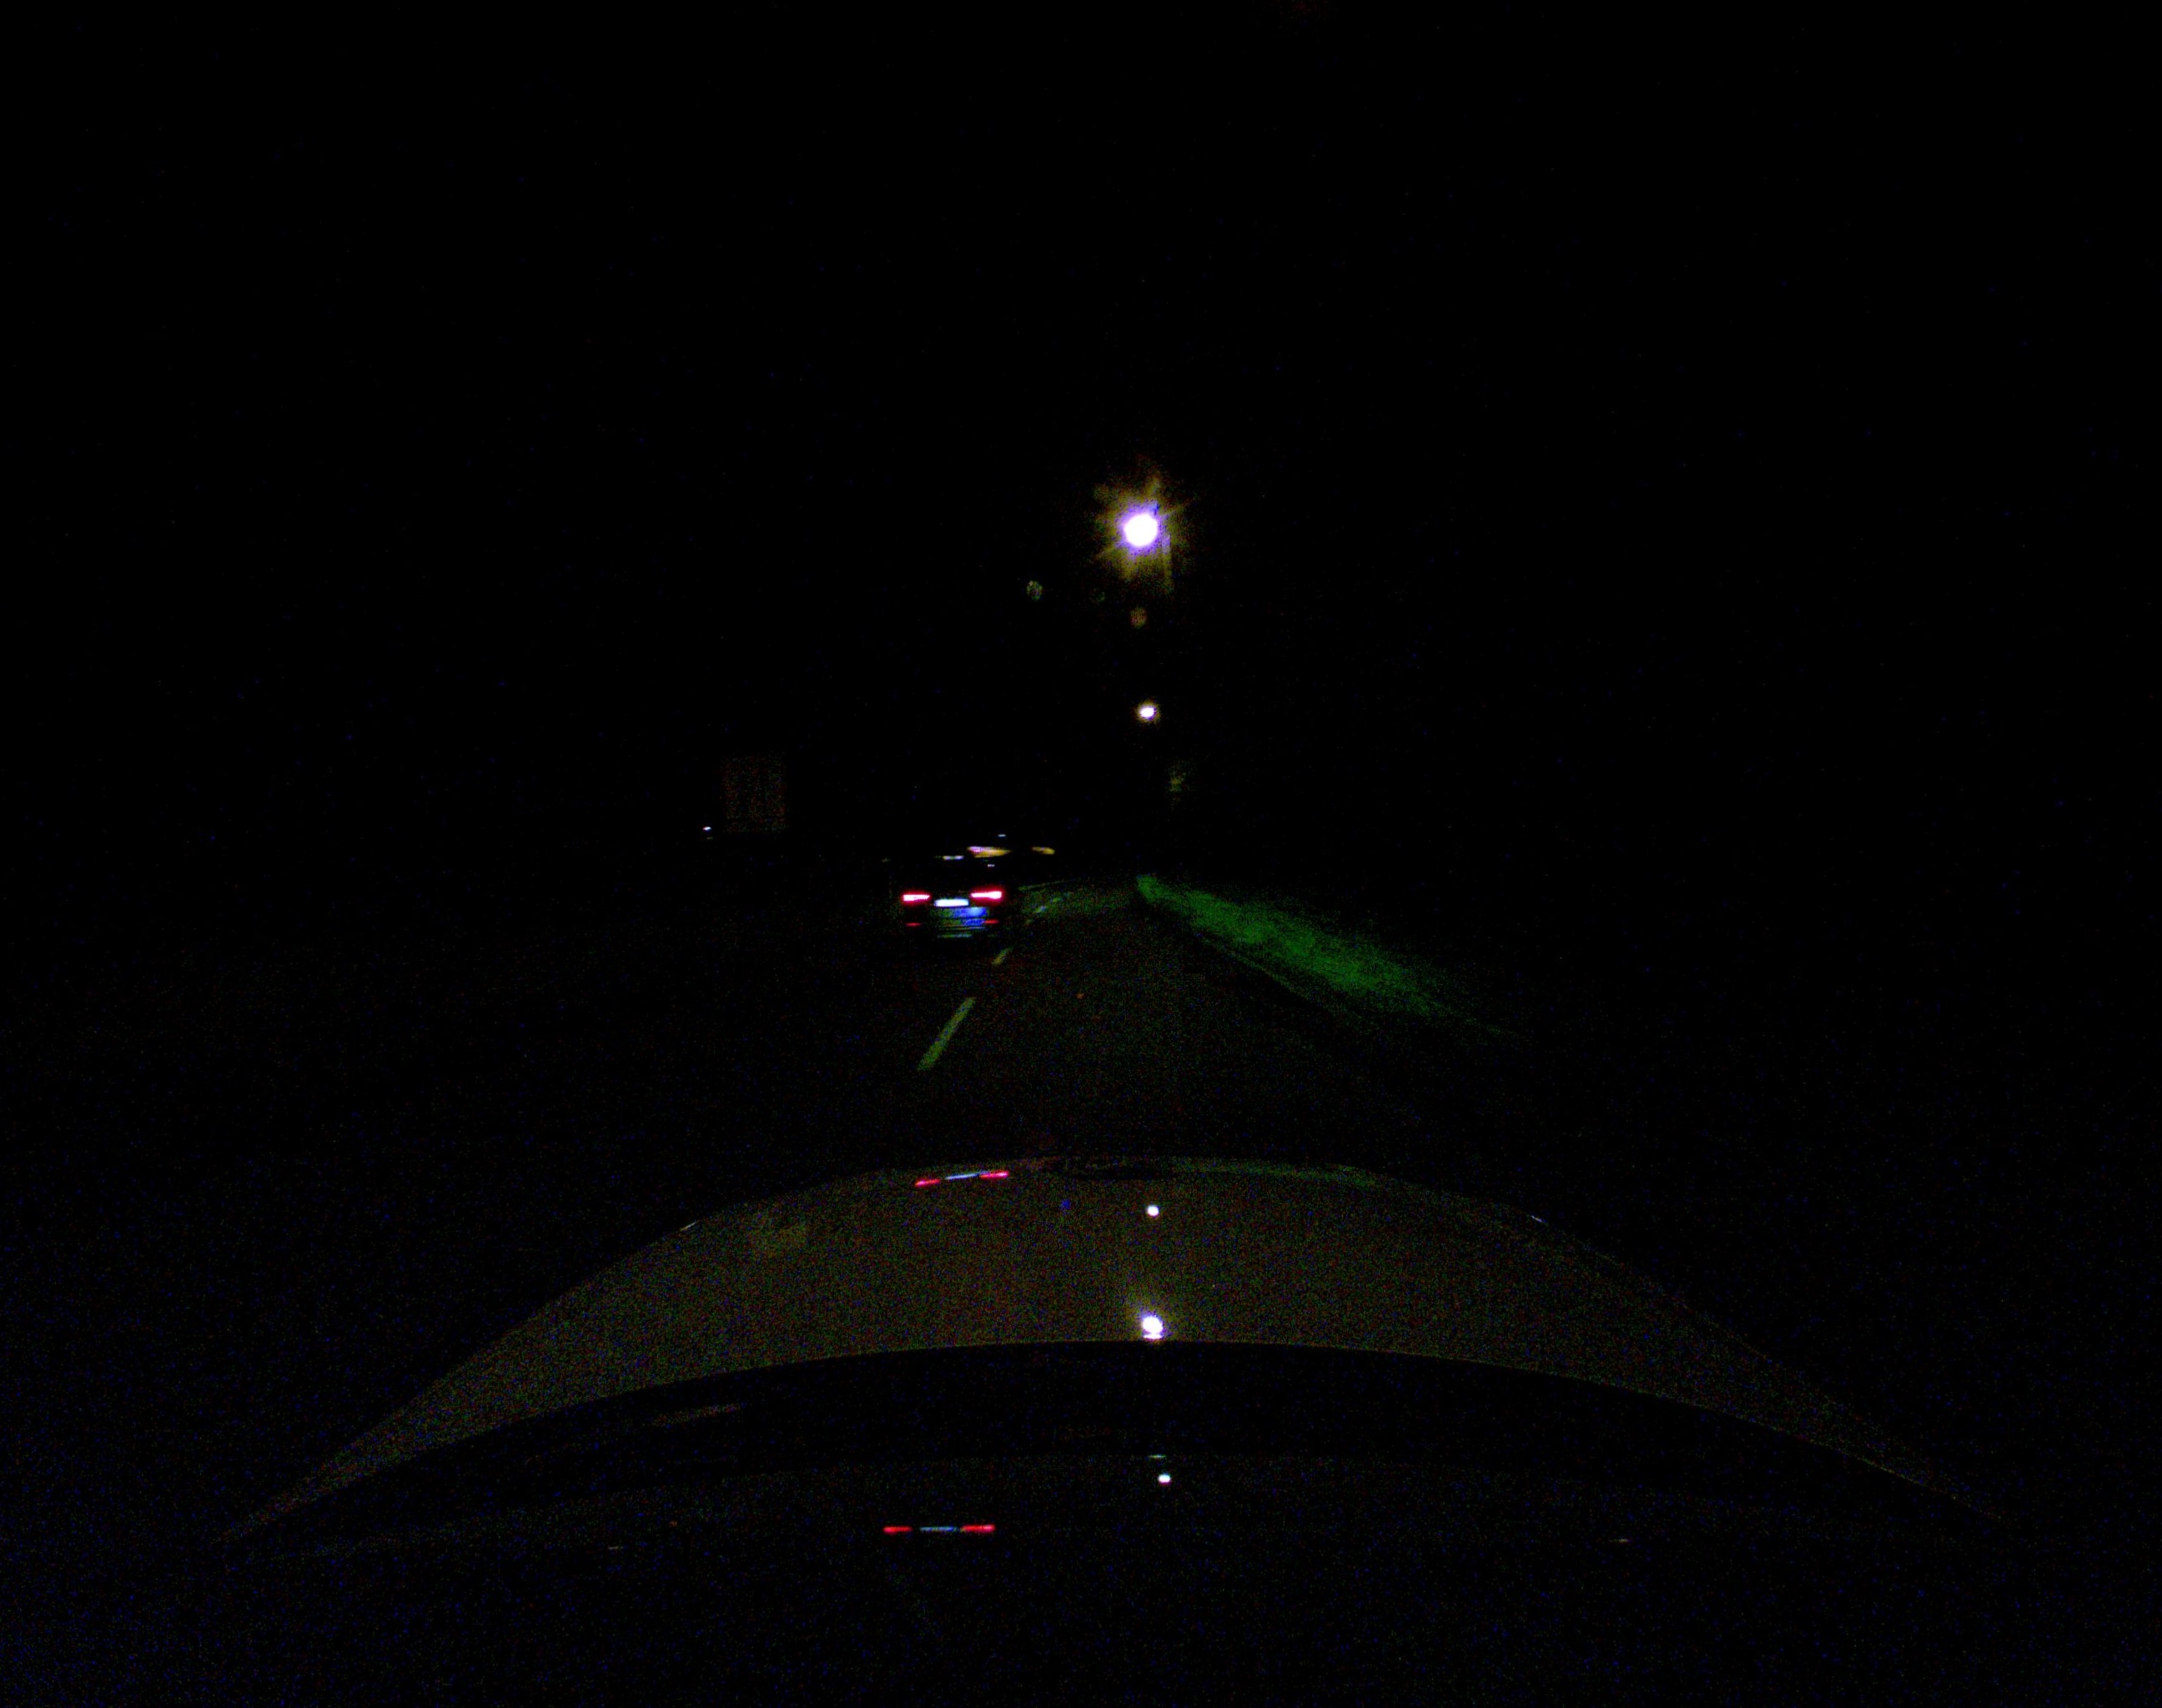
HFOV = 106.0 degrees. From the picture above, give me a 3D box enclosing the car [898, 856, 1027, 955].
[{"bbox_3d":[-2.090,0.858,15.472,1.846,1.582,4.005,-2,0,-1],"label":"car"}]
